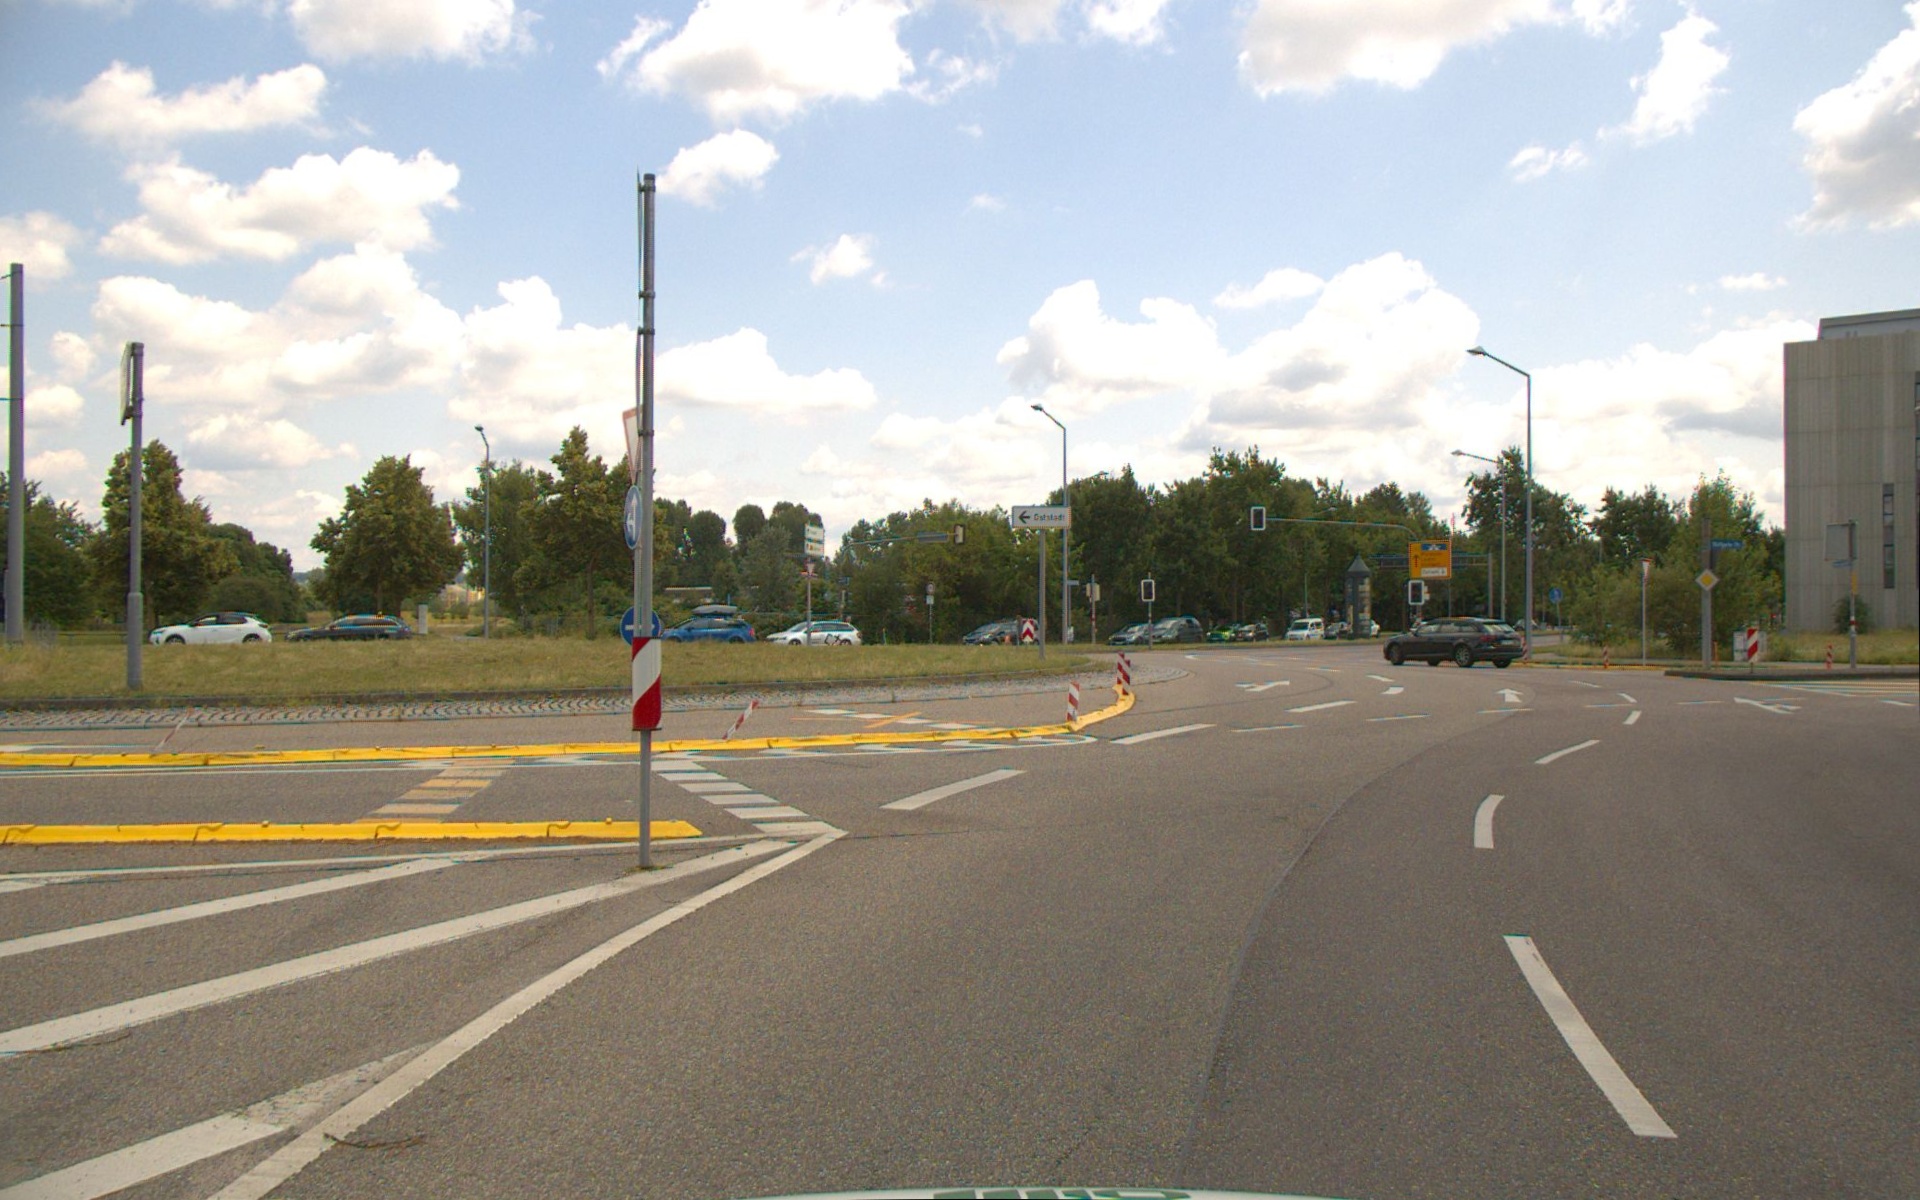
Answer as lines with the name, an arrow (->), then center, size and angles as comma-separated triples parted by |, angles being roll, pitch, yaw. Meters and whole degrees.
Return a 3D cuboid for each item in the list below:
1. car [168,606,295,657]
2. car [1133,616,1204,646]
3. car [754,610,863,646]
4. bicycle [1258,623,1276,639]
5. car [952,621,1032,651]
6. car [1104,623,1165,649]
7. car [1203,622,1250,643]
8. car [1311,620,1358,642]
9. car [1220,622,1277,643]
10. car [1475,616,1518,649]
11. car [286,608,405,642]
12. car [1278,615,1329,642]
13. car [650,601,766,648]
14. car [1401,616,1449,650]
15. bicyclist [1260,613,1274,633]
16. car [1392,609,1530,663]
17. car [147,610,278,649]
car -> -30.173, 1.264, 68.538 | 4.663, 2.049, 1.979 | 0, 0, -31
car -> 11.452, 1.691, 90.449 | 1.876, 1.620, 4.573 | -1, -1, 37
car -> -6.773, 1.238, 74.218 | 4.459, 1.548, 2.096 | 0, 0, -37
bicycle -> 25.065, 2.511, 134.962 | 0.747, 1.240, 2.011 | 2, 0, 32
car -> 1.610, 1.781, 82.196 | 1.772, 1.364, 3.953 | -3, -2, 43
car -> 9.897, 2.027, 93.539 | 1.870, 1.448, 4.182 | 0, -1, 31
car -> 18.005, 2.188, 111.738 | 1.587, 1.372, 4.158 | -3, -2, 33
car -> 27.358, 2.271, 120.735 | 1.805, 1.506, 4.740 | -3, -2, 32
car -> 18.857, 2.114, 108.098 | 1.806, 1.333, 4.770 | -3, -2, 35
car -> 28.321, 1.705, 87.180 | 1.952, 1.654, 4.310 | -1, 0, 21
car -> -24.610, 0.983, 66.398 | 4.409, 1.346, 1.943 | 0, 0, -20
car -> 24.086, 1.997, 115.879 | 1.805, 1.831, 4.773 | -3, -2, 33
car -> -10.144, 0.969, 66.610 | 4.336, 1.830, 1.743 | 0, 0, -25
car -> 29.177, 2.067, 103.729 | 1.956, 2.049, 3.992 | 1, 0, 30
bicyclist -> 25.061, 1.861, 134.919 | 0.815, 1.592, 0.881 | 2, 0, 33
car -> 14.916, 1.046, 49.417 | 1.665, 1.489, 3.963 | 1, 0, -28
car -> -26.976, 1.035, 59.764 | 4.242, 1.353, 1.984 | 0, 0, -25
